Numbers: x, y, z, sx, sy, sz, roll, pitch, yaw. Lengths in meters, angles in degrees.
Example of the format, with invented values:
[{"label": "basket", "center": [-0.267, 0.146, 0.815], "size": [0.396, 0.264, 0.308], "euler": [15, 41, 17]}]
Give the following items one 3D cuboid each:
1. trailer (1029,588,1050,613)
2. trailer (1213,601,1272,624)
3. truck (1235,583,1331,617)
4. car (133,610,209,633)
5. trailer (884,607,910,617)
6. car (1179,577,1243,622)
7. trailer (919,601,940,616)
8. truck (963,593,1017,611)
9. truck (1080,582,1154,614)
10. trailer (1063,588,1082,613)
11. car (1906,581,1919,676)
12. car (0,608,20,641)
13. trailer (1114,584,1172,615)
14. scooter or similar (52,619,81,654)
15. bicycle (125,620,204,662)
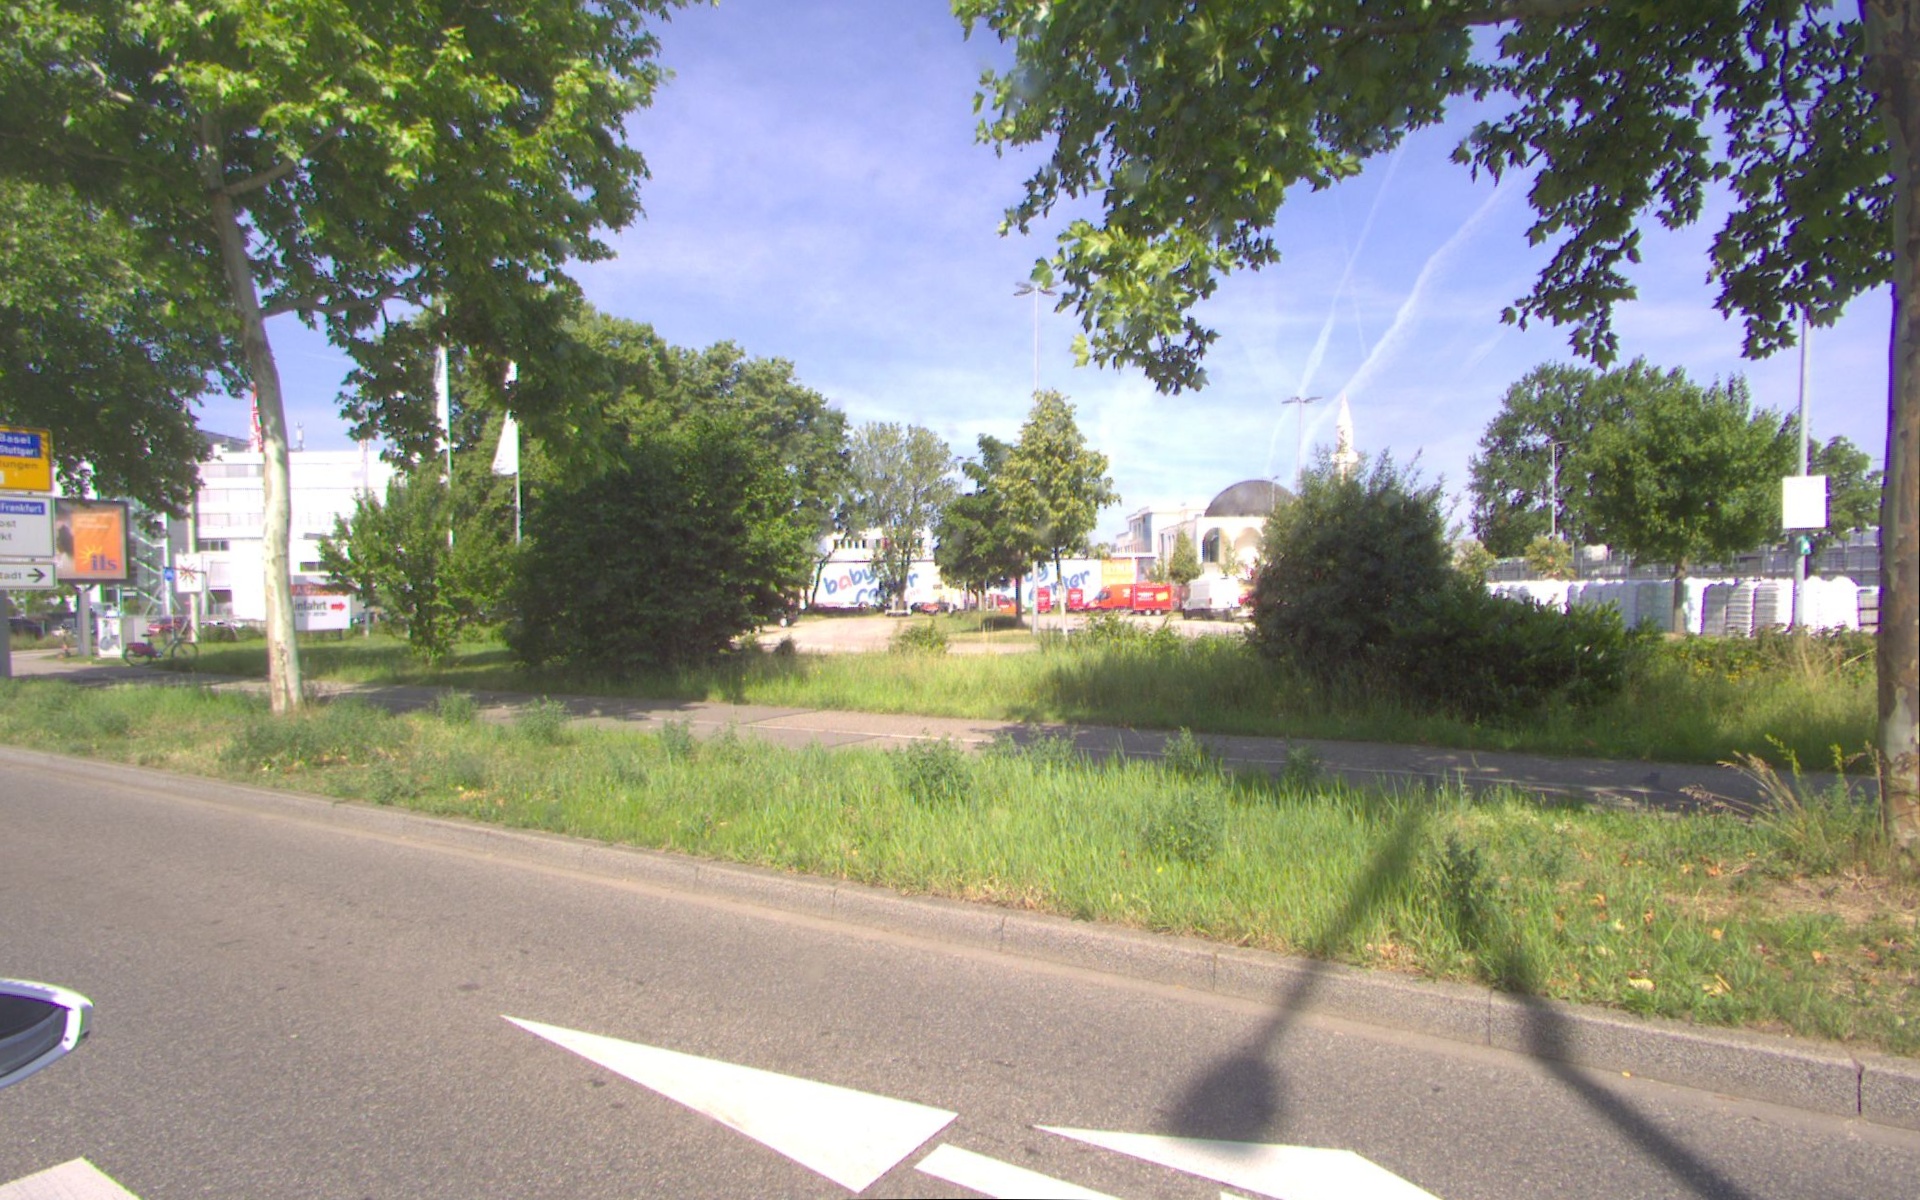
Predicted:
[{"label": "trailer", "center": [7.740, 0.021, 97.817], "size": [1.560, 2.408, 4.410], "euler": [0, 1, -1]}, {"label": "trailer", "center": [15.927, 0.664, 56.638], "size": [2.029, 1.137, 4.031], "euler": [-3, 0, -2]}, {"label": "truck", "center": [21.616, 0.005, 67.192], "size": [5.751, 2.168, 2.066], "euler": [-1, 0, -1]}, {"label": "car", "center": [-54.009, 1.451, 68.645], "size": [1.747, 1.463, 4.625], "euler": [-1, 0, -4]}, {"label": "trailer", "center": [-5.953, 1.120, 94.916], "size": [2.059, 0.792, 4.411], "euler": [-1, 0, 1]}, {"label": "car", "center": [15.509, -0.042, 62.229], "size": [1.980, 2.576, 5.687], "euler": [-3, 0, -6]}, {"label": "trailer", "center": [-2.939, 0.811, 95.664], "size": [1.560, 1.304, 4.409], "euler": [-1, 0, -7]}, {"label": "truck", "center": [3.359, 0.232, 112.931], "size": [5.888, 1.855, 2.188], "euler": [0, -2, -2]}, {"label": "truck", "center": [13.324, -0.137, 85.195], "size": [5.914, 2.644, 2.018], "euler": [0, 0, -6]}, {"label": "trailer", "center": [10.887, 0.033, 97.199], "size": [1.520, 2.390, 4.410], "euler": [0, 1, 2]}, {"label": "car", "center": [16.433, 0.474, 15.252], "size": [1.820, 1.606, 3.849], "euler": [-1, 0, 25]}, {"label": "car", "center": [-50.149, 1.273, 50.179], "size": [1.879, 1.711, 4.625], "euler": [-1, 0, -4]}, {"label": "trailer", "center": [14.500, -0.040, 79.458], "size": [4.325, 2.409, 1.751], "euler": [0, 1, 0]}, {"label": "scooter or similar", "center": [-29.904, 1.216, 33.513], "size": [1.107, 1.141, 0.423], "euler": [0, 1, 32]}, {"label": "bicycle", "center": [-23.810, 1.218, 29.999], "size": [1.771, 1.123, 0.499], "euler": [-3, 2, -40]}]
